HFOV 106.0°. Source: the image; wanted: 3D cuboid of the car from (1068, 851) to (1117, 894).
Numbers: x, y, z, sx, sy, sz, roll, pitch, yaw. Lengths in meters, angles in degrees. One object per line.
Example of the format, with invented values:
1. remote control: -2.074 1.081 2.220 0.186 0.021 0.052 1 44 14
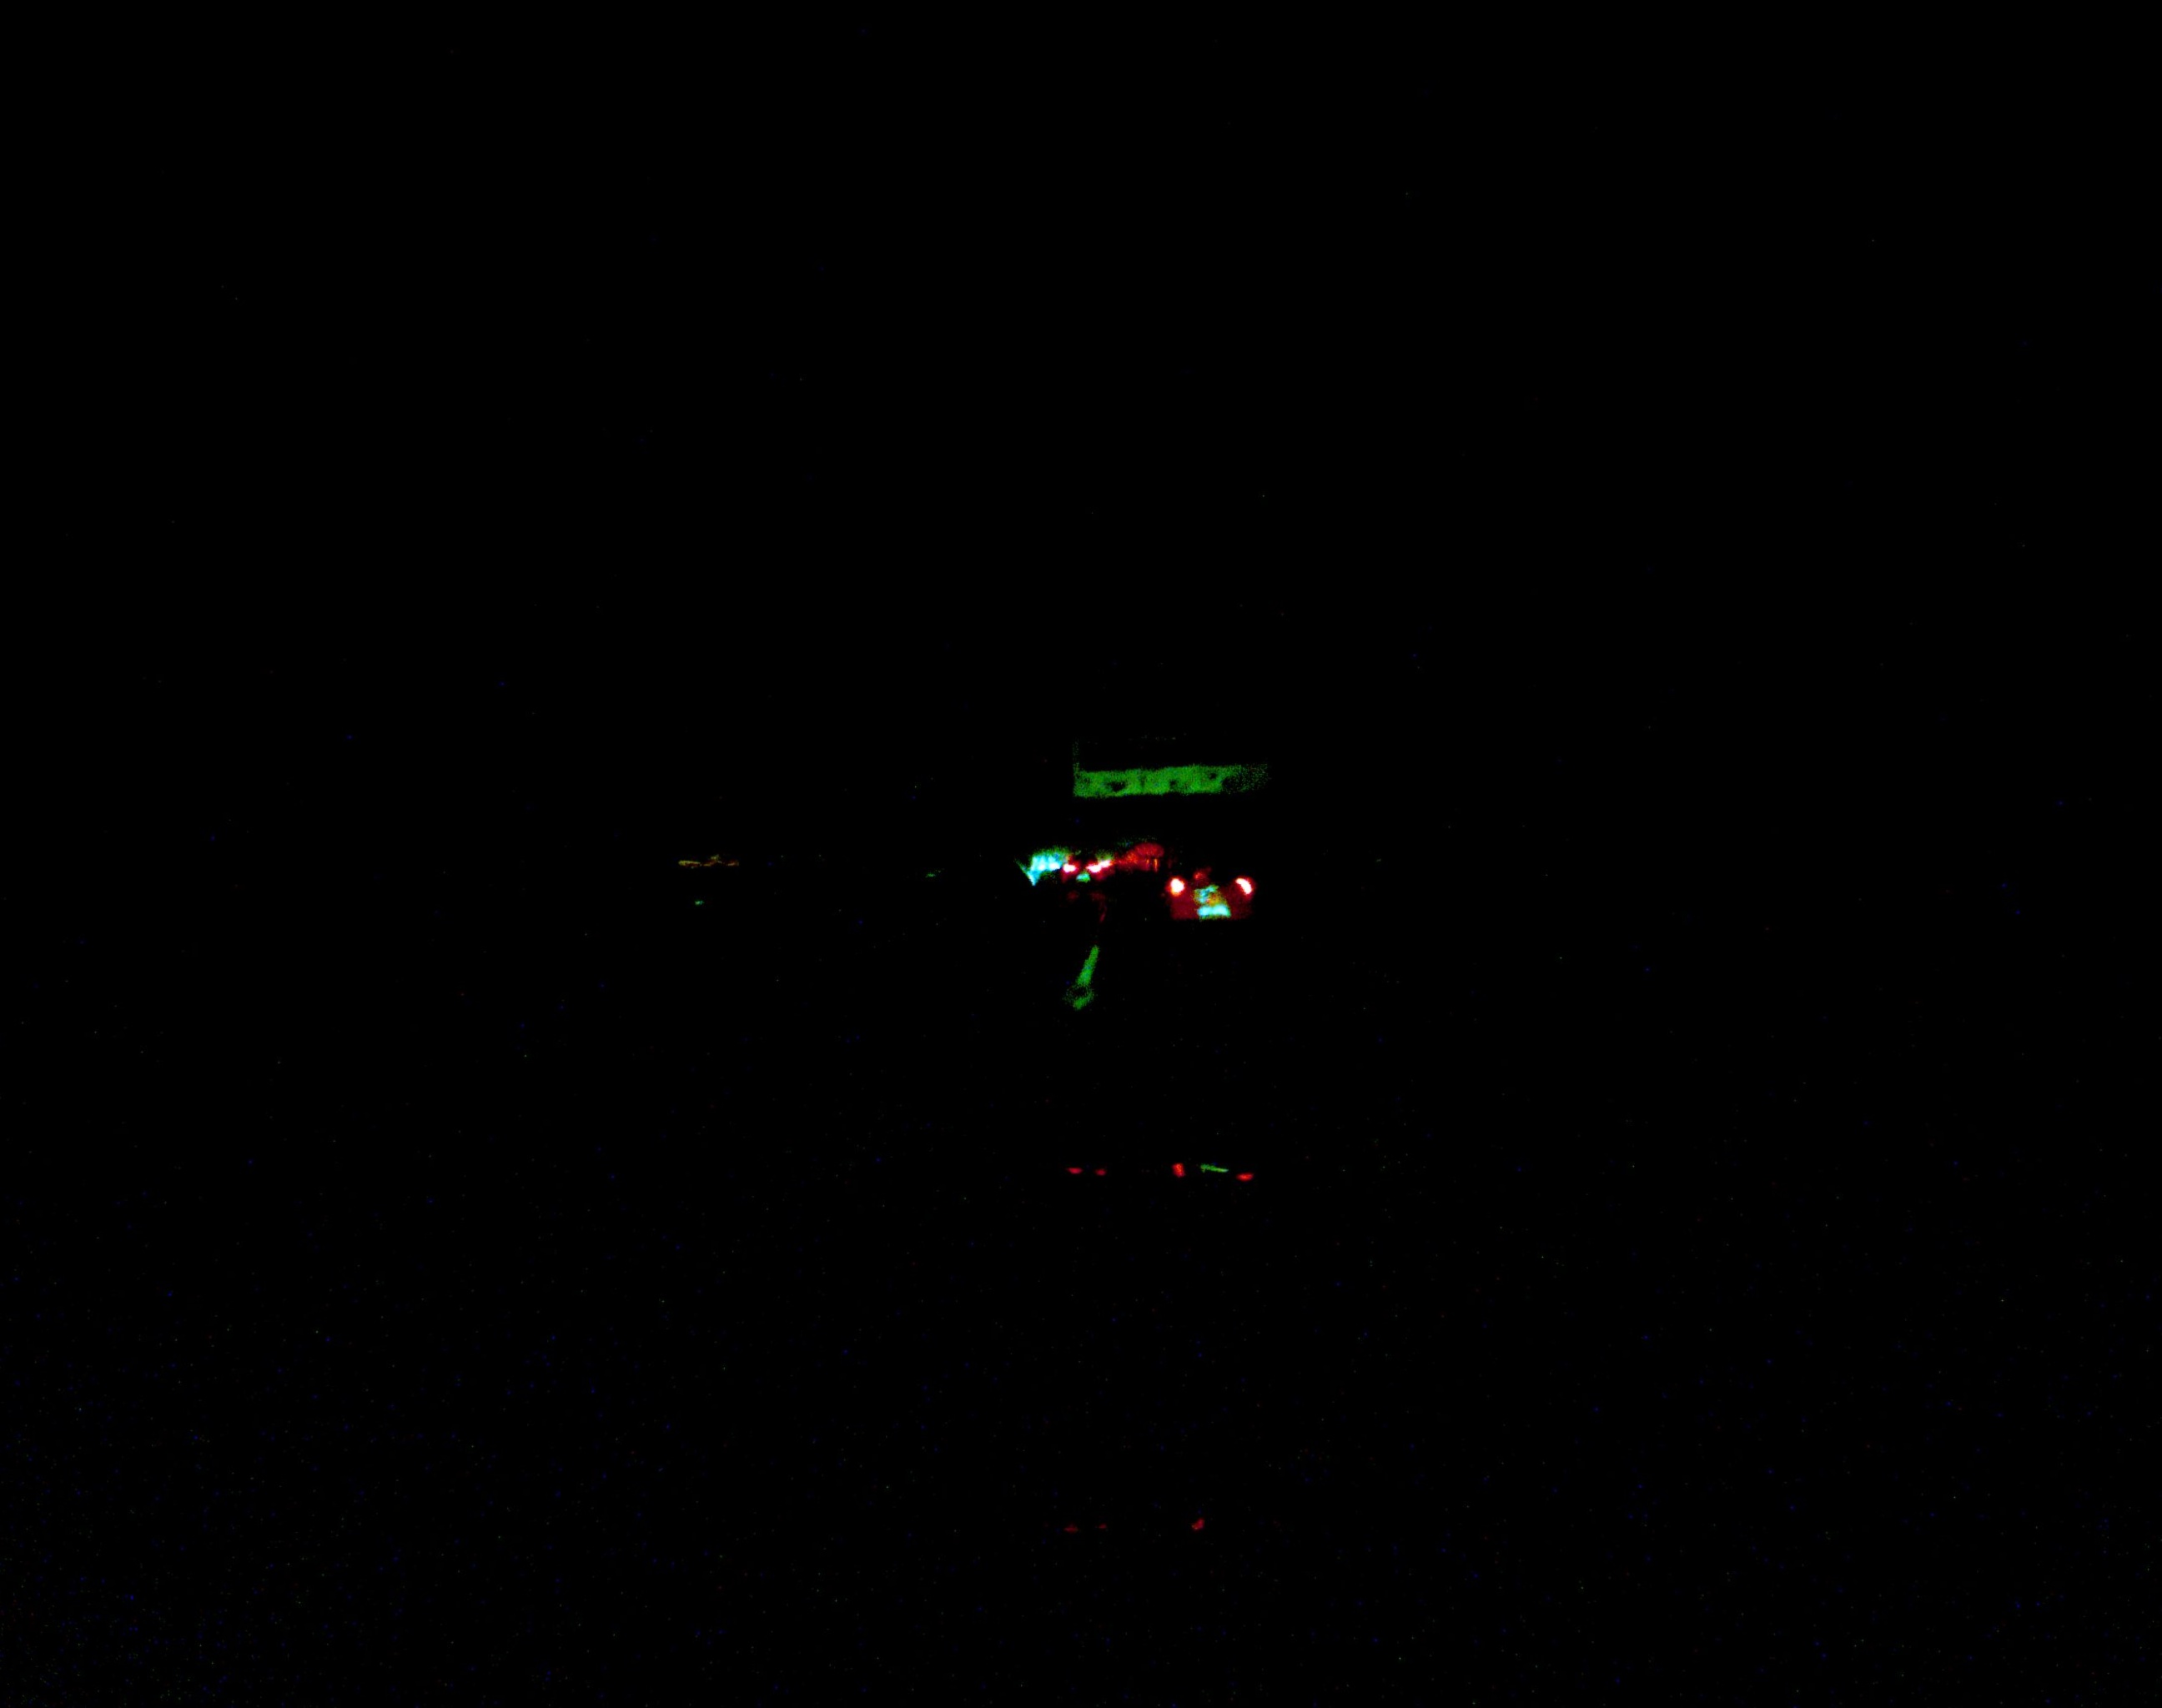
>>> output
1. car: 0.597 0.799 38.288 1.985 1.777 4.891 -3 0 3

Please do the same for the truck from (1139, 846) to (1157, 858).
1. truck: 16.494 -0.492 200.918 3.821 3.055 11.009 0 0 2

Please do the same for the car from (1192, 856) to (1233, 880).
1. car: 7.757 0.803 48.339 1.883 1.354 4.002 0 0 2

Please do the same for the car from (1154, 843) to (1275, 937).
1. car: 2.594 0.661 16.829 1.908 1.594 4.236 -3 0 2

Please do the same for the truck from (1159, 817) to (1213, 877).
1. truck: 10.680 -0.659 84.300 4.151 5.544 13.082 -3 0 2

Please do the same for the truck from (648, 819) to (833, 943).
1. truck: -17.152 1.169 42.648 3.825 5.544 12.223 0 0 4
